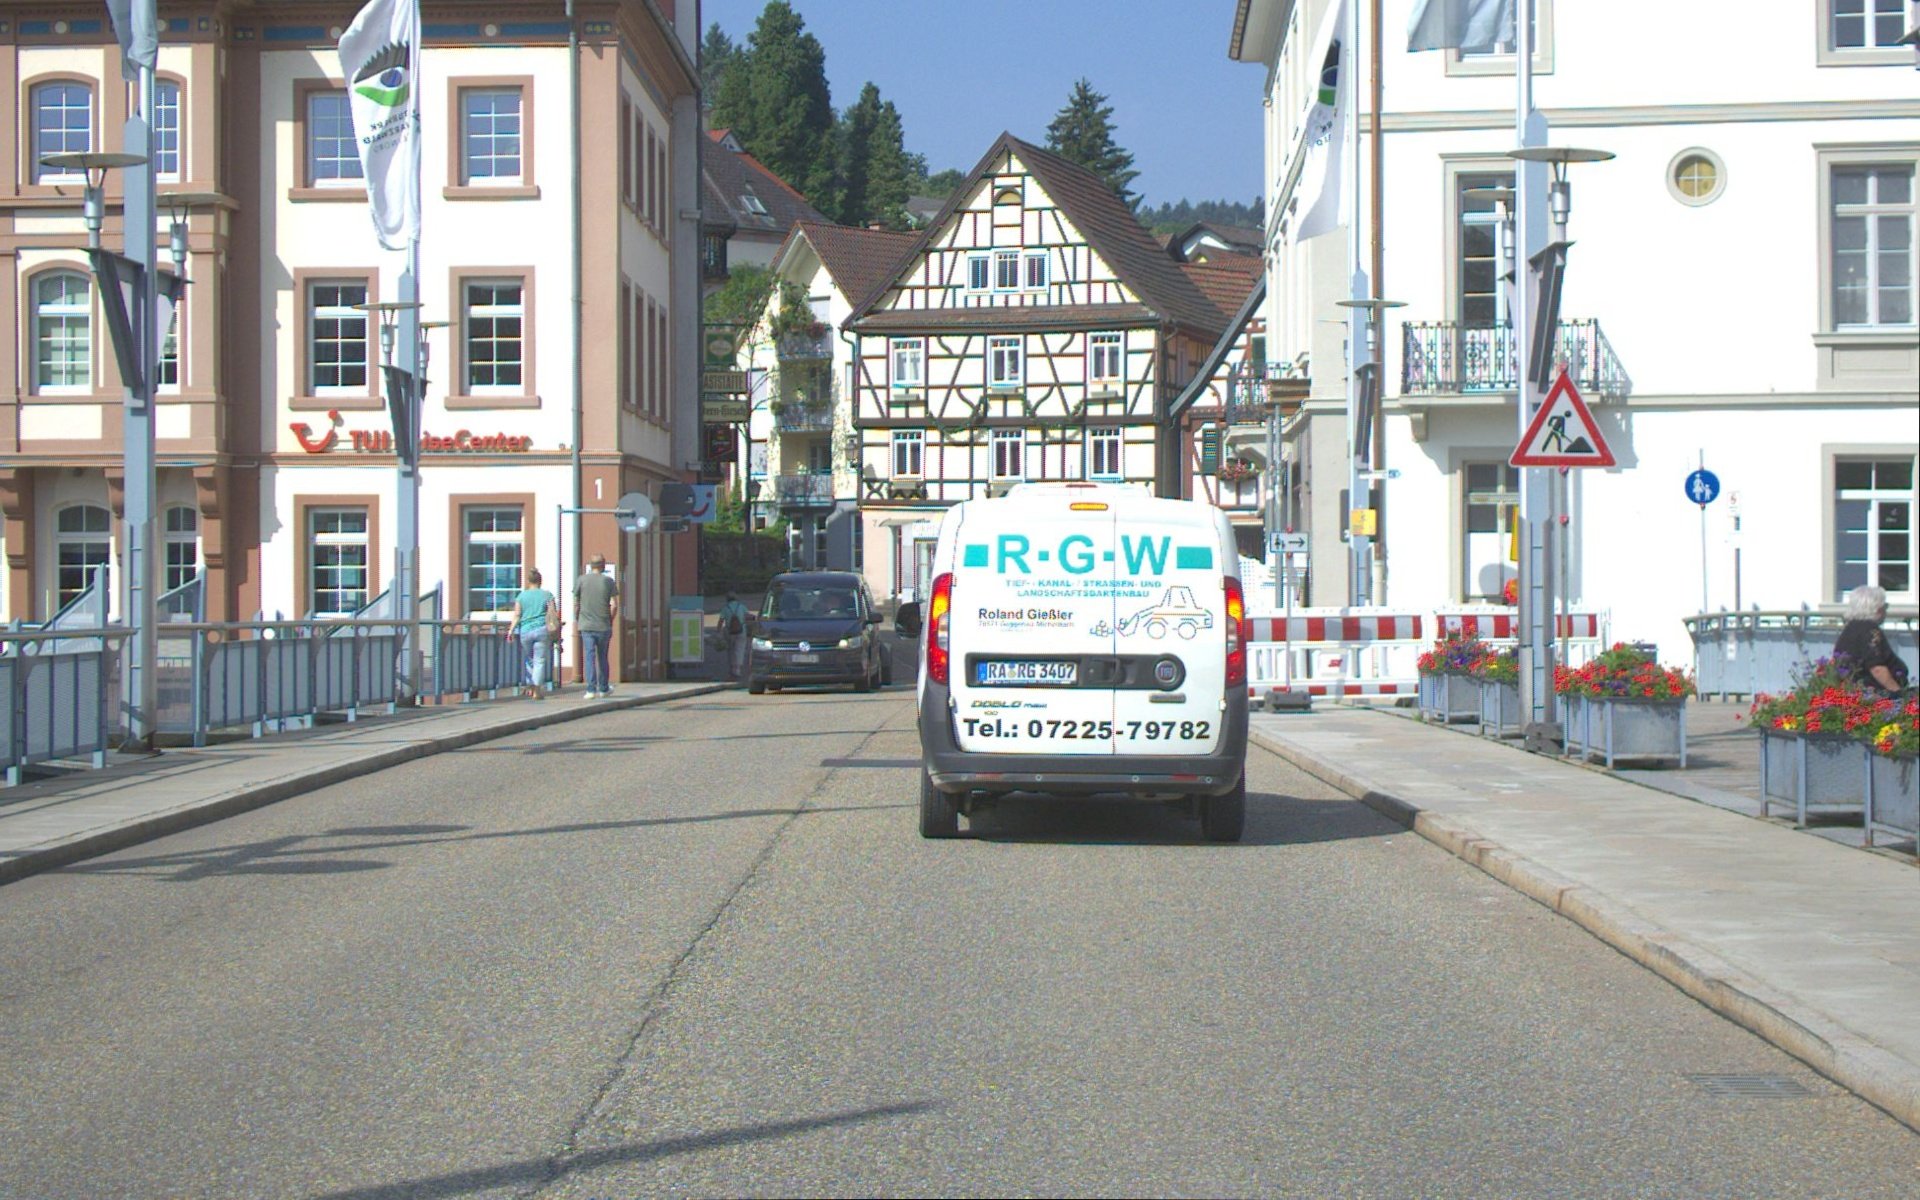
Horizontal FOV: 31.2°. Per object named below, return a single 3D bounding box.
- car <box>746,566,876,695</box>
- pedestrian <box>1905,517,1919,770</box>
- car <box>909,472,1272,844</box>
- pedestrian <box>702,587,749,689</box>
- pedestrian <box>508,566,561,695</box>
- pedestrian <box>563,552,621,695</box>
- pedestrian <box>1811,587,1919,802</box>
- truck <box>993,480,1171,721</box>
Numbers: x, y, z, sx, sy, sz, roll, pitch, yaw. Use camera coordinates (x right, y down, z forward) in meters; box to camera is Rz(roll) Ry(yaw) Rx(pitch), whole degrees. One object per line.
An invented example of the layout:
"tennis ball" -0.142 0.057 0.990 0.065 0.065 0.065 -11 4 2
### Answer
"car" -2.171 0.410 51.185 1.776 1.786 4.697 1 1 -1
"pedestrian" 6.884 0.299 23.236 0.725 1.717 0.747 0 1 -4
"car" 0.642 0.294 19.879 1.844 1.899 4.315 1 0 -1
"pedestrian" -4.292 0.688 62.914 0.803 1.851 0.616 0 1 0
"pedestrian" -5.346 0.376 43.242 0.583 1.604 0.537 1 1 -1
"pedestrian" -4.598 0.288 42.976 0.614 1.756 0.864 1 1 -1
"pedestrian" 5.339 0.548 20.235 0.451 1.240 0.626 0 0 -5
"truck" 1.334 -0.002 39.152 1.861 2.576 4.260 1 0 0
